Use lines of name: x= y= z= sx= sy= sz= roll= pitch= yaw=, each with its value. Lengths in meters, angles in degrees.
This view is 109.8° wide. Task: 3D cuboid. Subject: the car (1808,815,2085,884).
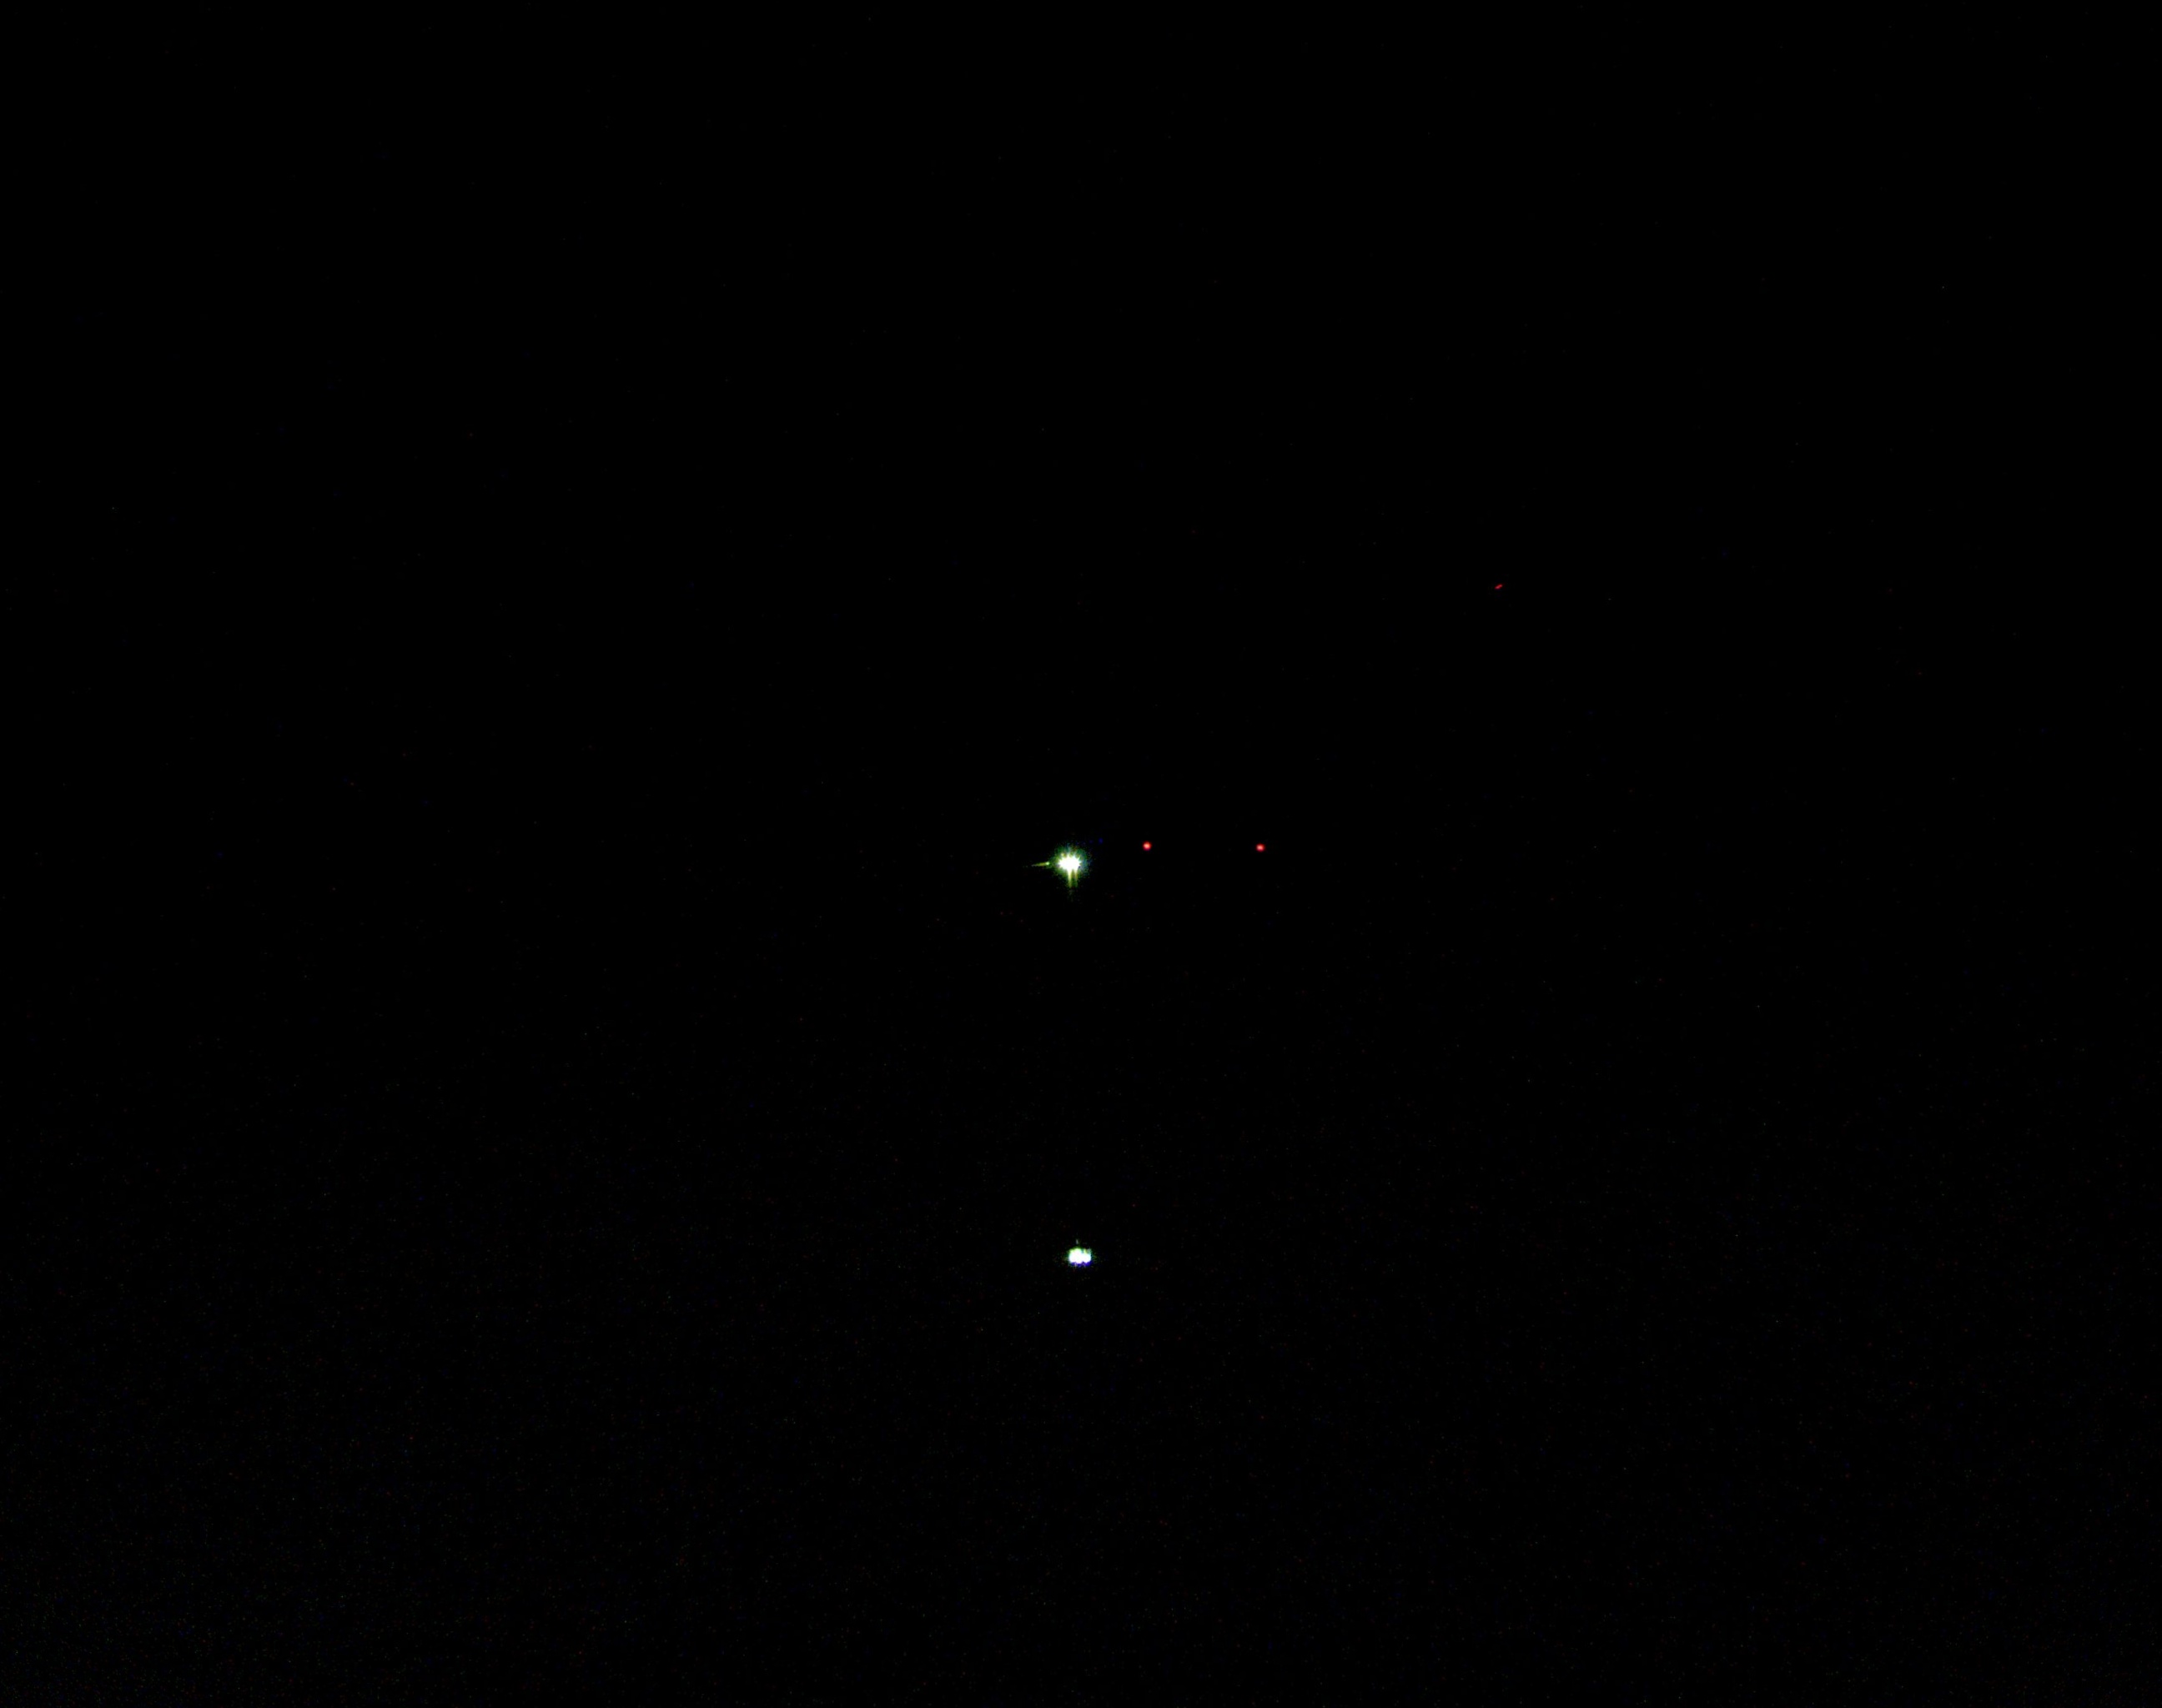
car: x=23.320 y=-0.132 z=20.851 sx=2.056 sy=1.589 sz=4.895 roll=-2 pitch=1 yaw=1

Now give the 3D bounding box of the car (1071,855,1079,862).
car: x=-1.480 y=1.042 z=180.174 sx=1.846 sy=1.474 sz=4.293 roll=-3 pitch=-1 yaw=0
